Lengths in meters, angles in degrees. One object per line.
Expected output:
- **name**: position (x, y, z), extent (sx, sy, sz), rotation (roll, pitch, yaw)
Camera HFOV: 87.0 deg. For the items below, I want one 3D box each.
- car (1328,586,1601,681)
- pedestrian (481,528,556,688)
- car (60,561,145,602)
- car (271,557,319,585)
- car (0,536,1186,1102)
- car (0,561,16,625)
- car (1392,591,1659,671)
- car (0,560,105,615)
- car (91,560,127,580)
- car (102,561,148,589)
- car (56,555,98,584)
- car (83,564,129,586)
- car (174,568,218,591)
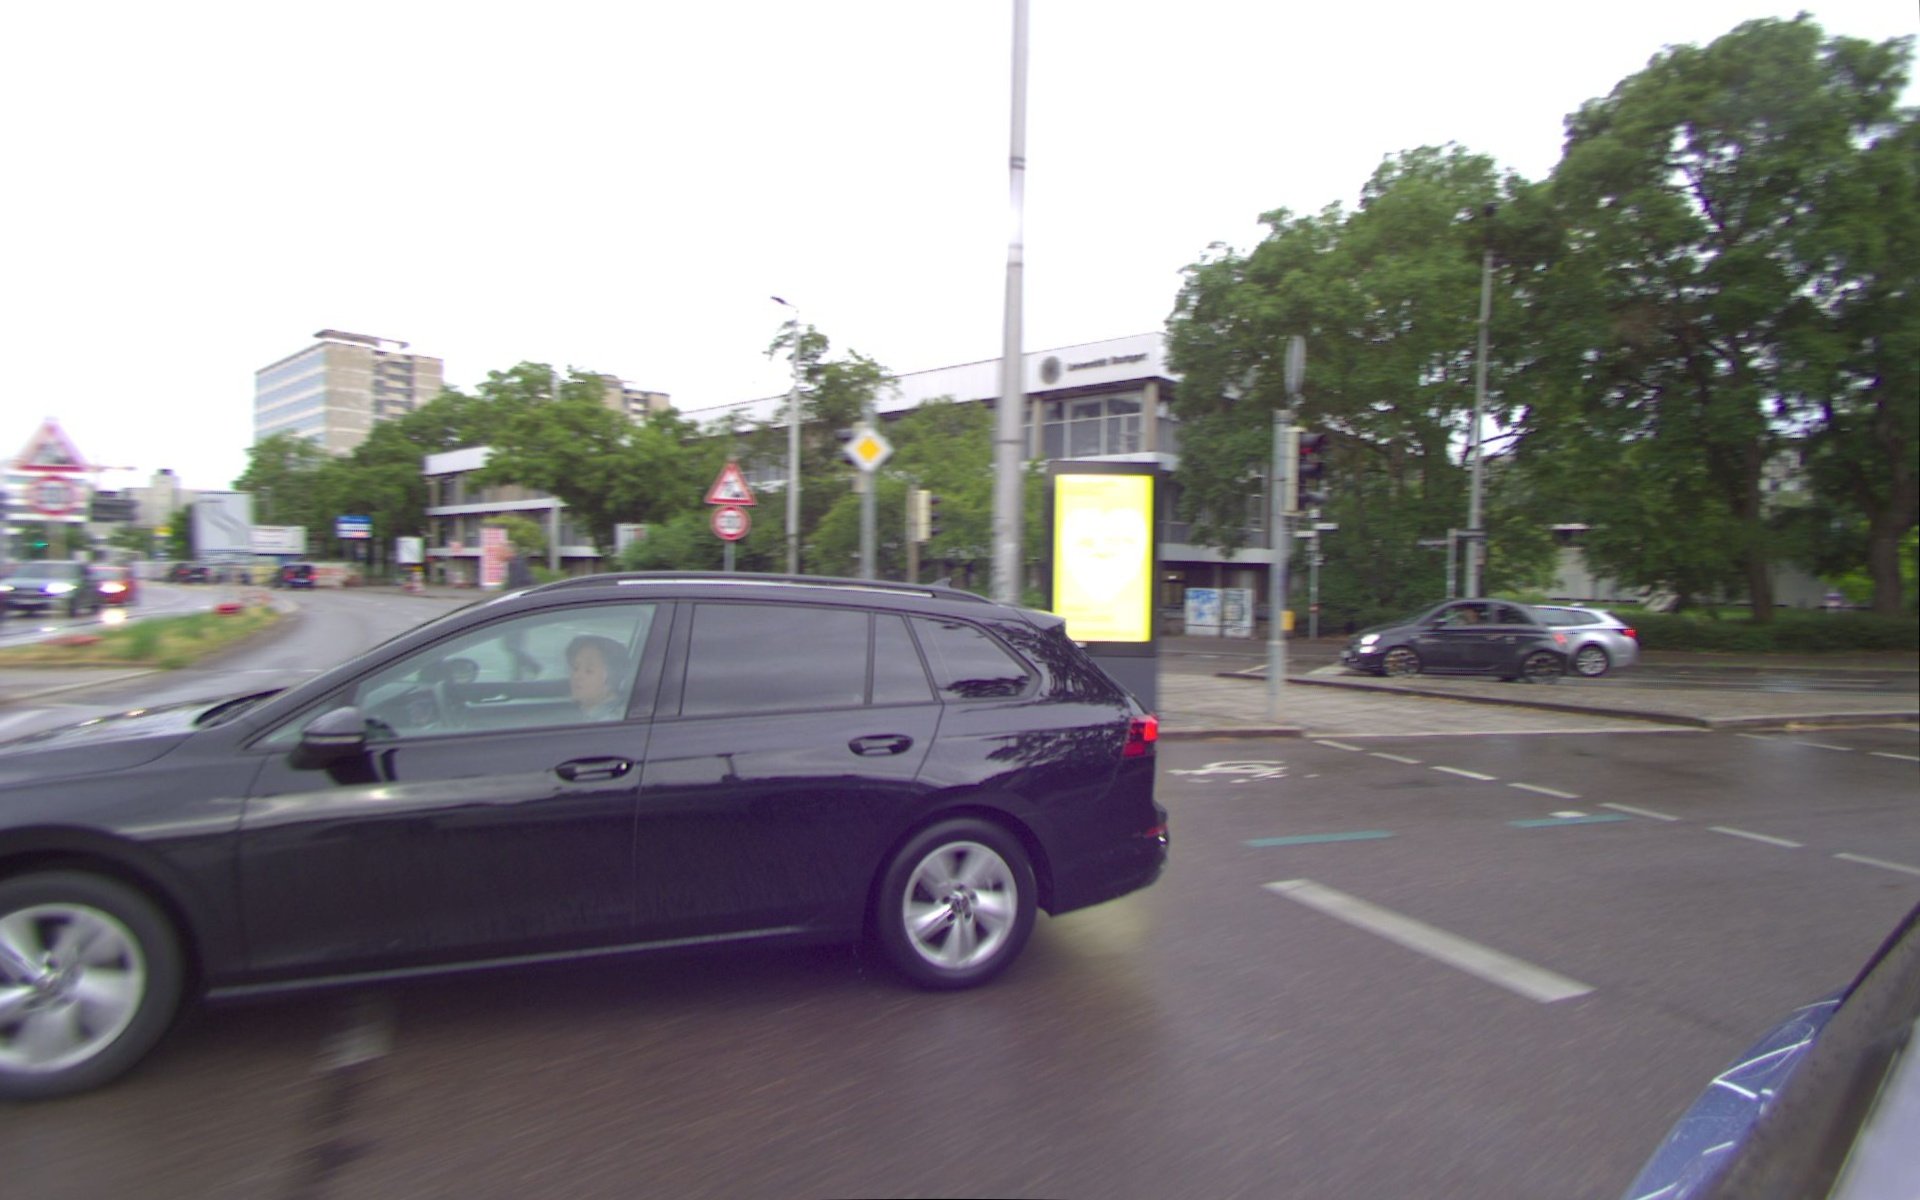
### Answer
- **car**: position (8.744, 0.532, 17.916), extent (3.939, 1.468, 1.861), rotation (2, 1, 13)
- **pedestrian**: position (-5.550, 0.093, 12.755), extent (0.813, 1.916, 1.029), rotation (-1, 0, -23)
- **car**: position (-32.482, -0.655, 38.438), extent (1.928, 1.468, 4.160), rotation (1, 0, -33)
- **car**: position (-48.185, -2.097, 73.304), extent (4.292, 1.932, 1.771), rotation (2, 1, 41)
- **car**: position (-1.535, 0.582, 3.866), extent (4.417, 1.484, 1.679), rotation (1, 1, -19)
- **car**: position (-23.741, -0.146, 23.272), extent (1.927, 1.577, 4.535), rotation (1, 1, -29)
- **car**: position (11.413, 0.594, 20.714), extent (4.329, 1.468, 1.864), rotation (1, 1, 8)
- **car**: position (-27.439, -0.401, 30.567), extent (1.928, 1.556, 4.161), rotation (1, 1, -33)
- **car**: position (-79.392, -2.792, 94.414), extent (4.668, 1.727, 1.772), rotation (2, 1, 40)
- **car**: position (-47.942, -1.404, 58.080), extent (1.933, 1.468, 4.151), rotation (1, 0, -41)
- **car**: position (-56.101, -1.880, 64.270), extent (1.933, 1.722, 4.151), rotation (1, 0, -42)
- **car**: position (-59.756, -1.739, 70.778), extent (4.144, 1.468, 1.936), rotation (0, 0, 43)
- **car**: position (-64.296, -1.695, 85.143), extent (4.765, 1.832, 1.971), rotation (1, 0, 40)
